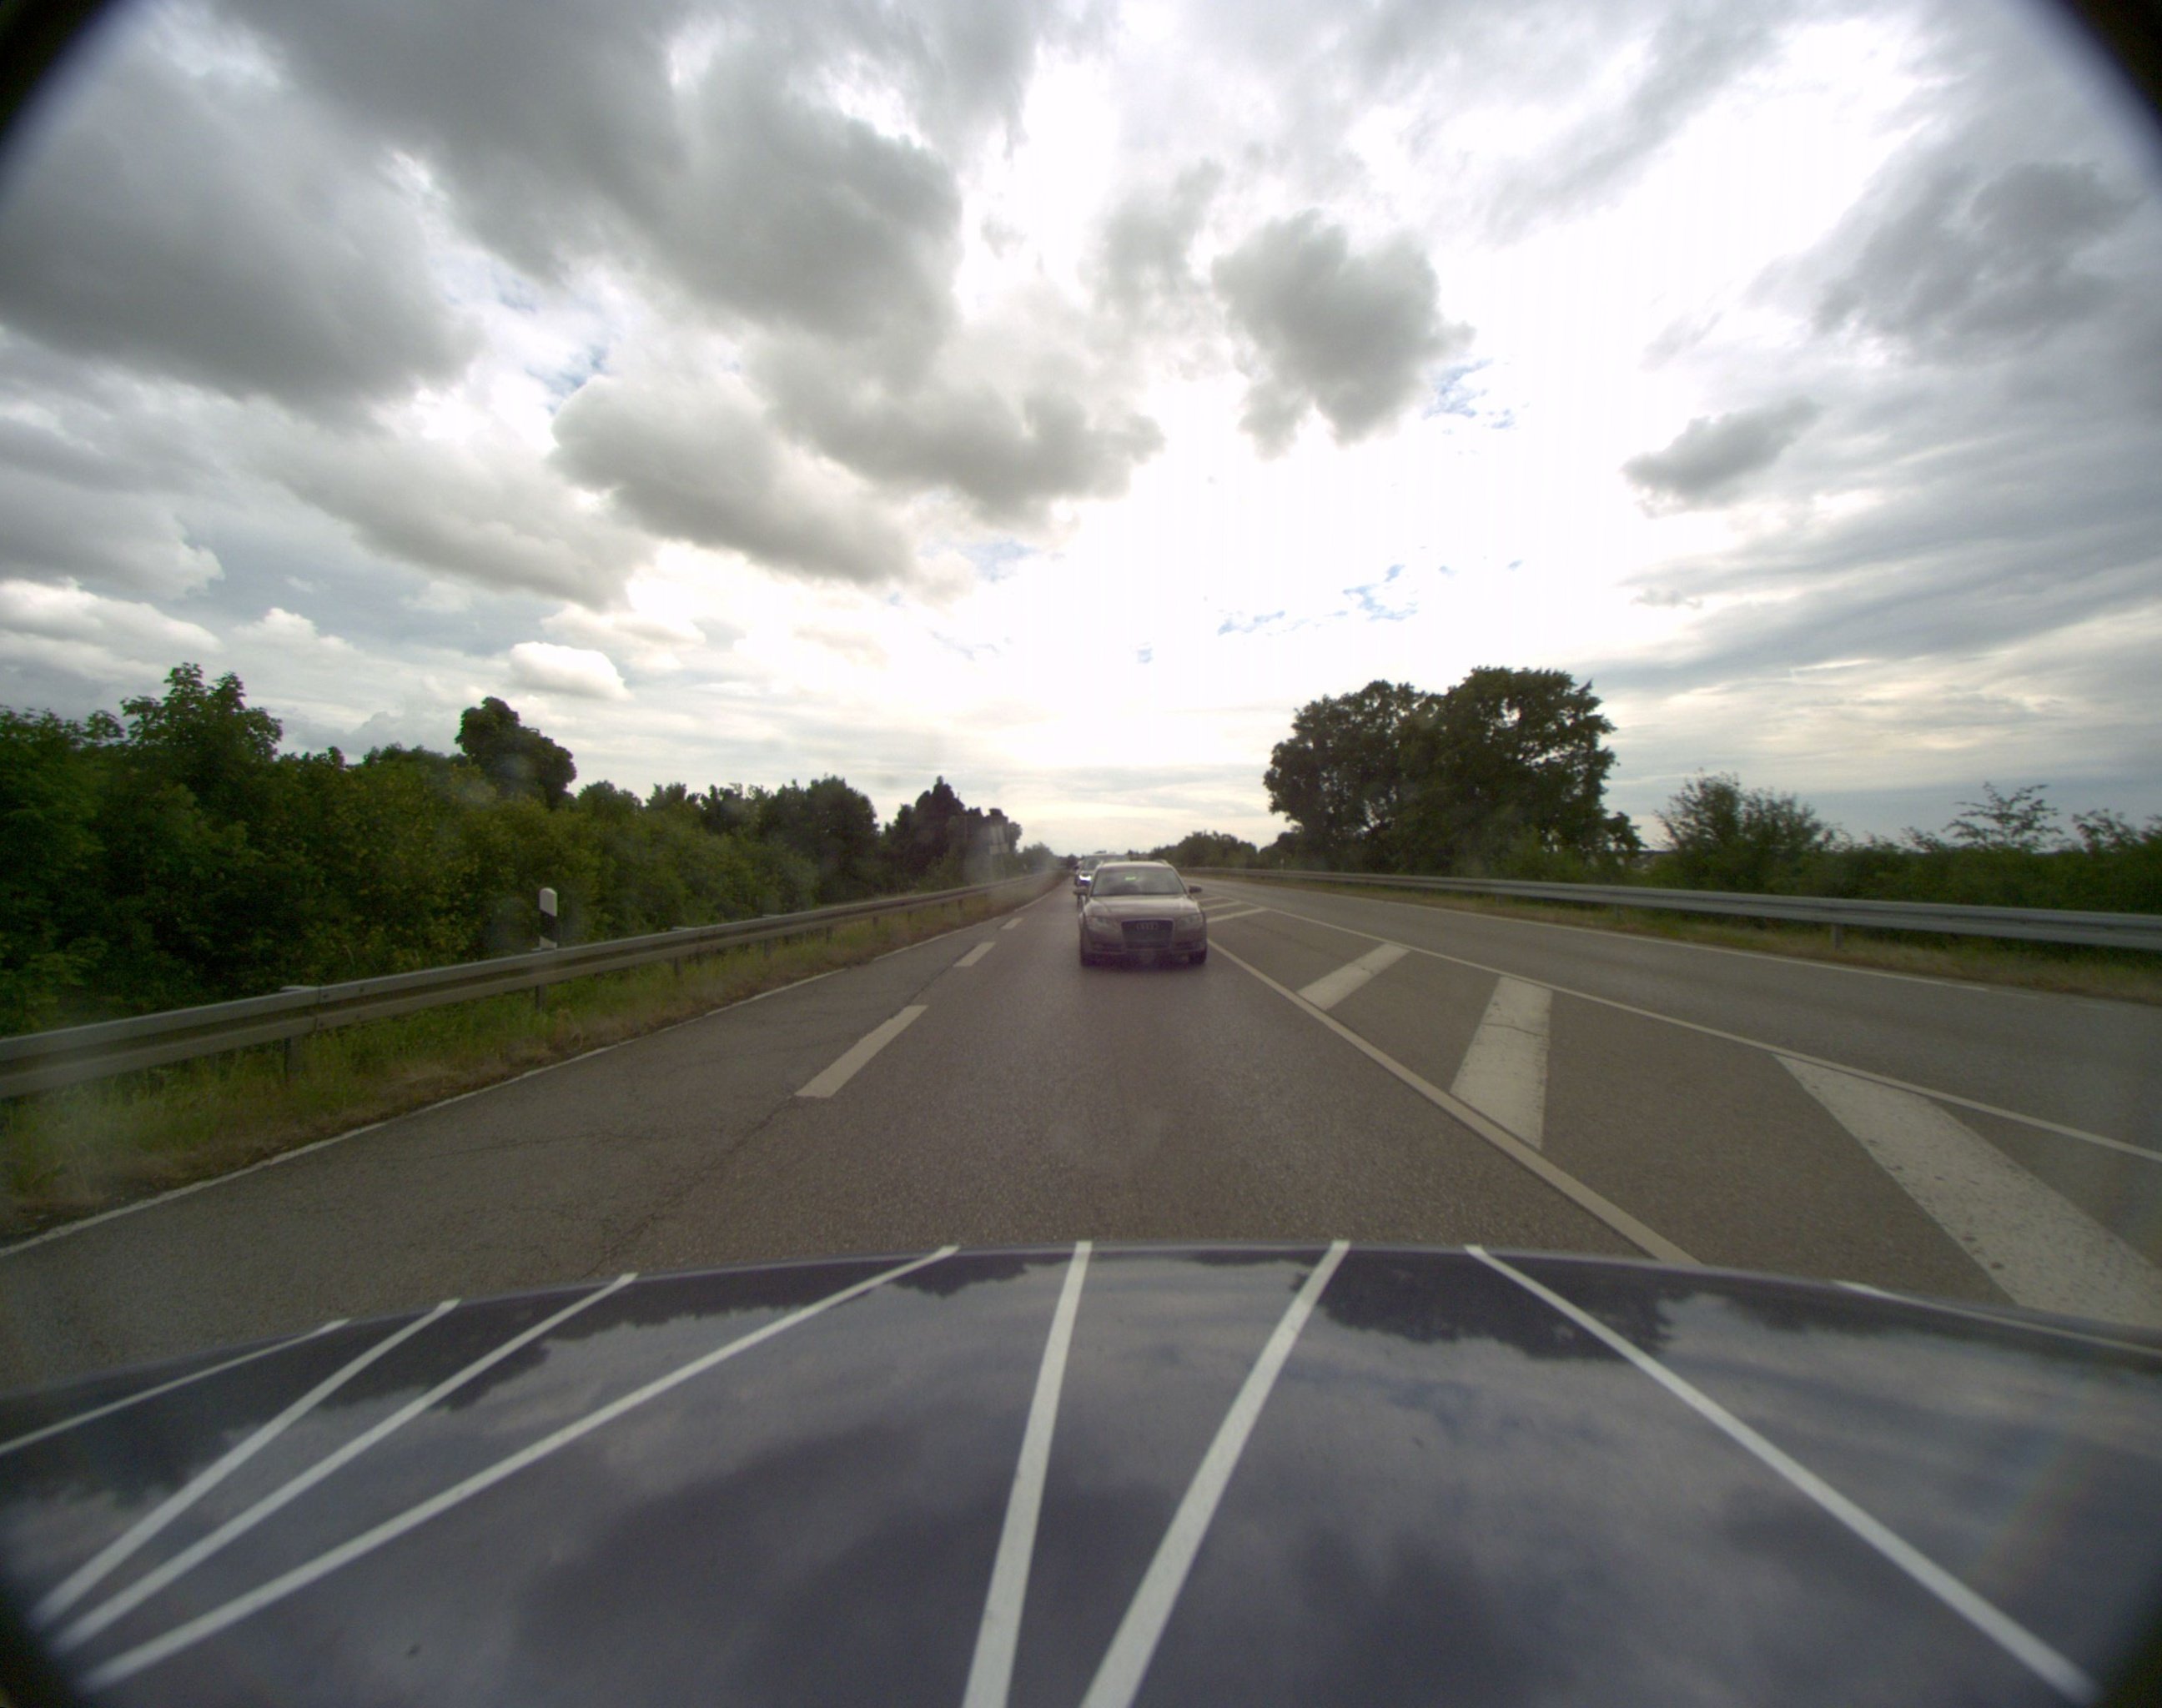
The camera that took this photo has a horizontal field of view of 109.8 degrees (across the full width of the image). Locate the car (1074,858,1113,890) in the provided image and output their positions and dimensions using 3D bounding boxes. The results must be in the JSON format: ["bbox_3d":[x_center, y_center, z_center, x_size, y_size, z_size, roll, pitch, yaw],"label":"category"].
[{"bbox_3d":[0.635,0.971,38.548,1.834,1.537,4.035,-1,0,1],"label":"car"}]

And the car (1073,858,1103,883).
[{"bbox_3d":[0.460,1.087,50.247,1.834,1.537,4.035,-1,0,1],"label":"car"}]

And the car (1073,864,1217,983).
[{"bbox_3d":[0.840,0.902,11.614,1.784,1.441,4.035,-1,0,1],"label":"car"}]

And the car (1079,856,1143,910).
[{"bbox_3d":[0.894,0.859,24.277,1.834,1.537,4.035,-1,0,1],"label":"car"}]

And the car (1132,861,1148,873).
[{"bbox_3d":[7.420,1.575,96.427,1.675,1.421,4.258,-1,0,0],"label":"car"}]
